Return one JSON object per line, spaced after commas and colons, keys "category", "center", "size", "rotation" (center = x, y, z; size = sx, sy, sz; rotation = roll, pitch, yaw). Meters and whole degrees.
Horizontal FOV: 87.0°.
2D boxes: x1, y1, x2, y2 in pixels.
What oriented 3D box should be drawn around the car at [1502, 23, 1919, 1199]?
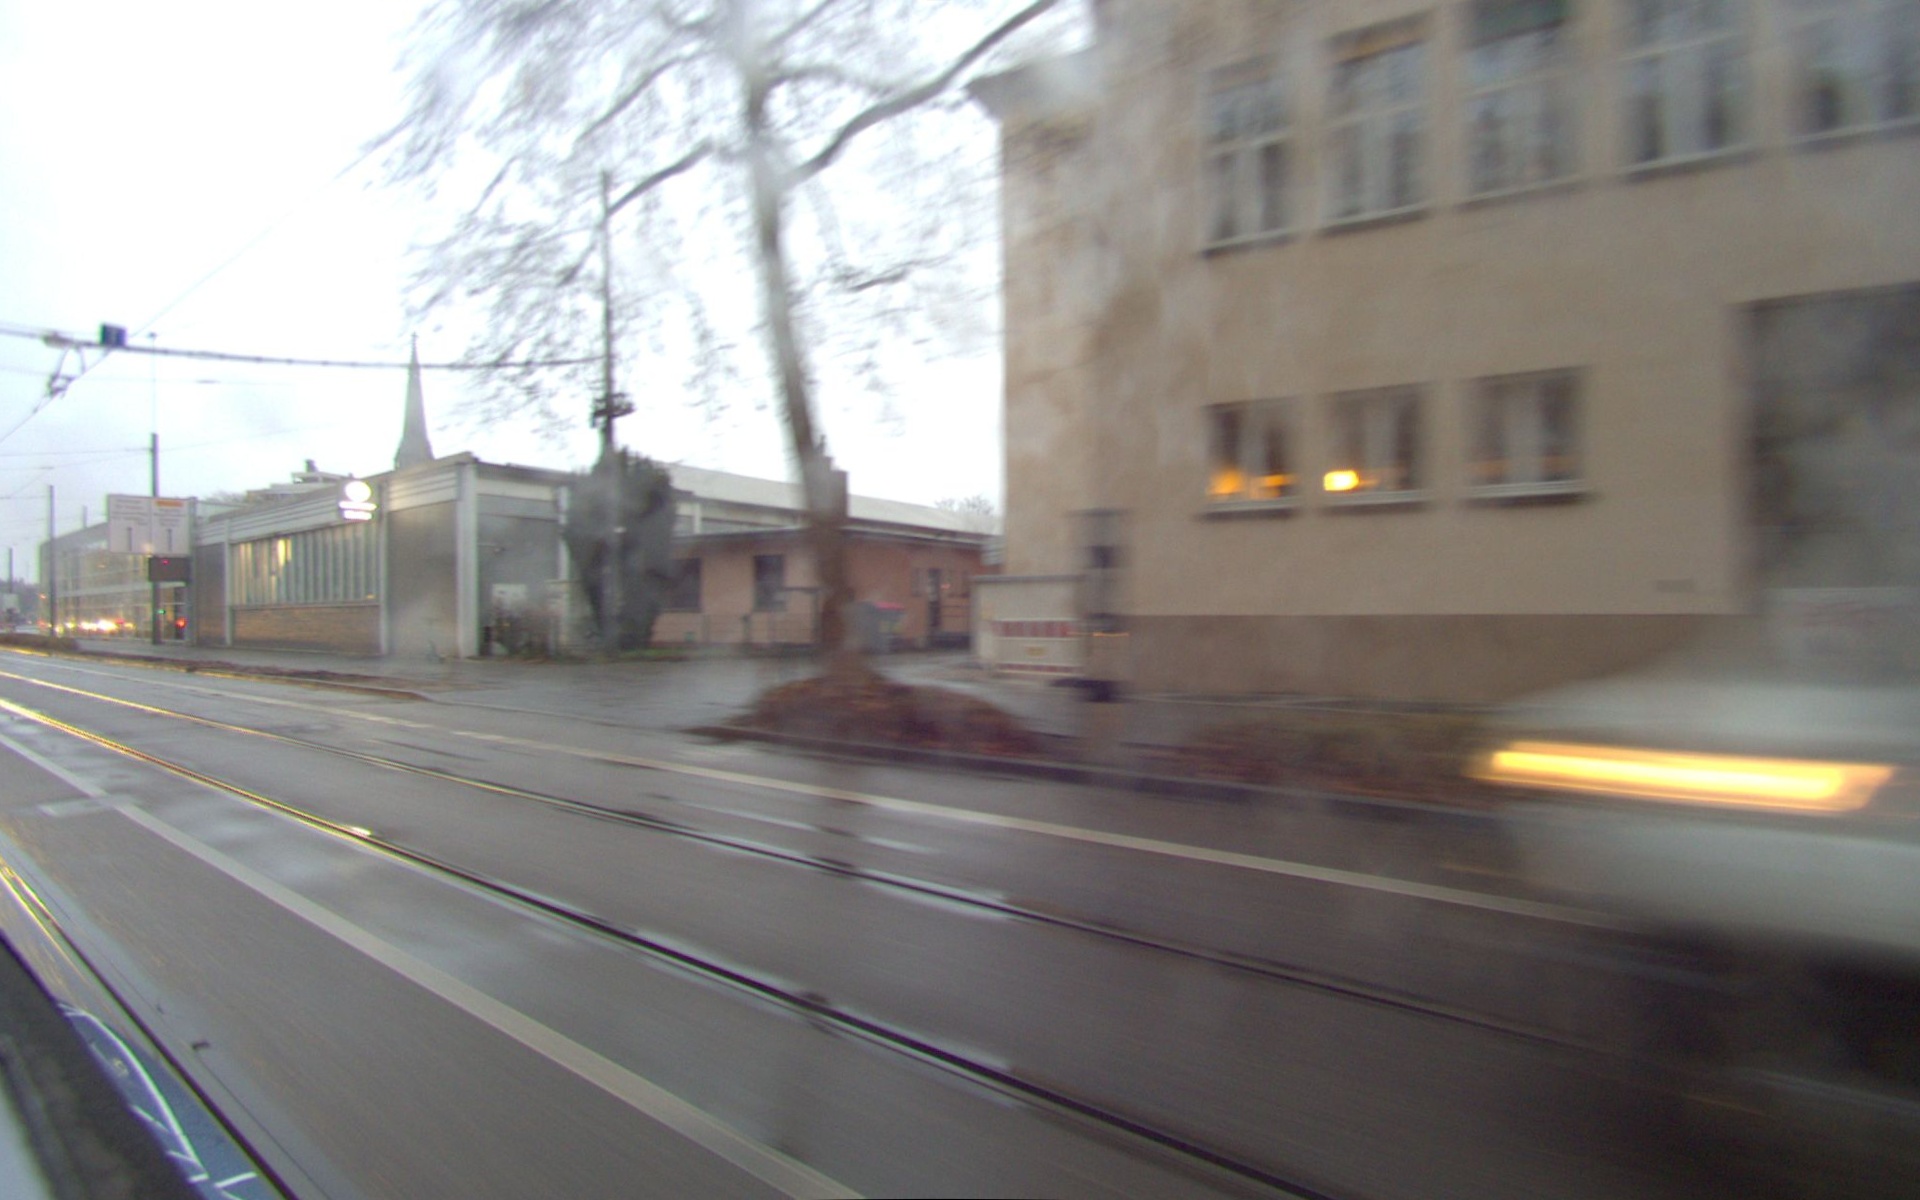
{"category": "car", "center": [4.240, 0.101, 1.330], "size": [5.842, 2.365, 2.421], "rotation": [-1, -1, 41]}
